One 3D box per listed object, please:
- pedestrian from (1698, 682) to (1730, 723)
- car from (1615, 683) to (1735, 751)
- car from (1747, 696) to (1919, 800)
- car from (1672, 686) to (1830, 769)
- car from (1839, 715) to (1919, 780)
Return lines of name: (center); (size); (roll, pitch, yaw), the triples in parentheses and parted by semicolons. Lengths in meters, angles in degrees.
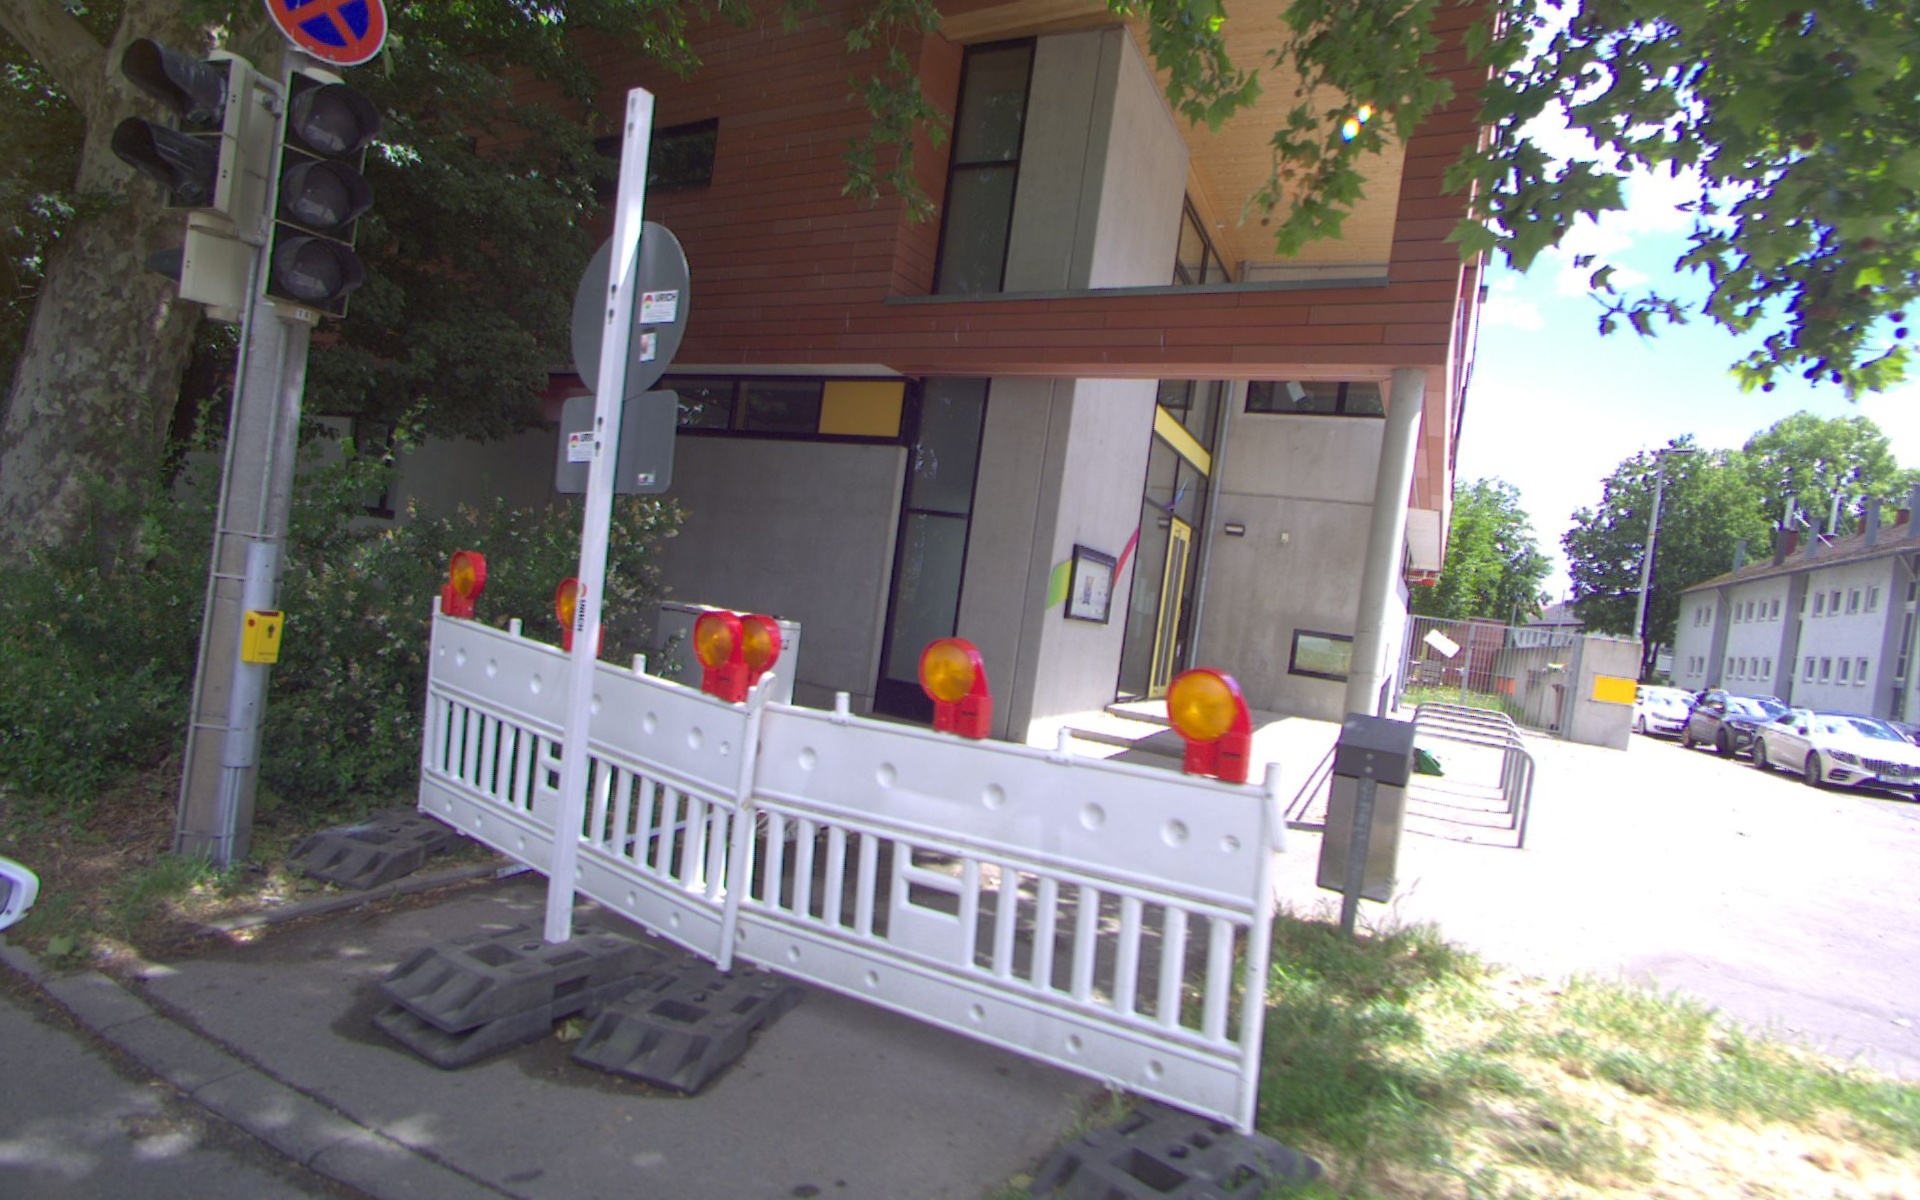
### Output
pedestrian: (35.512, 4.805, 47.397); (0.824, 1.775, 0.953); (7, 0, 22)
car: (21.195, 3.410, 30.012); (1.858, 1.474, 4.241); (8, 0, 23)
car: (17.345, 2.830, 19.683); (1.858, 1.474, 4.241); (8, 0, 23)
car: (19.378, 3.067, 24.883); (1.858, 1.474, 4.241); (8, 0, 23)
car: (26.119, 4.114, 27.378); (1.923, 1.426, 4.060); (8, 0, 22)
